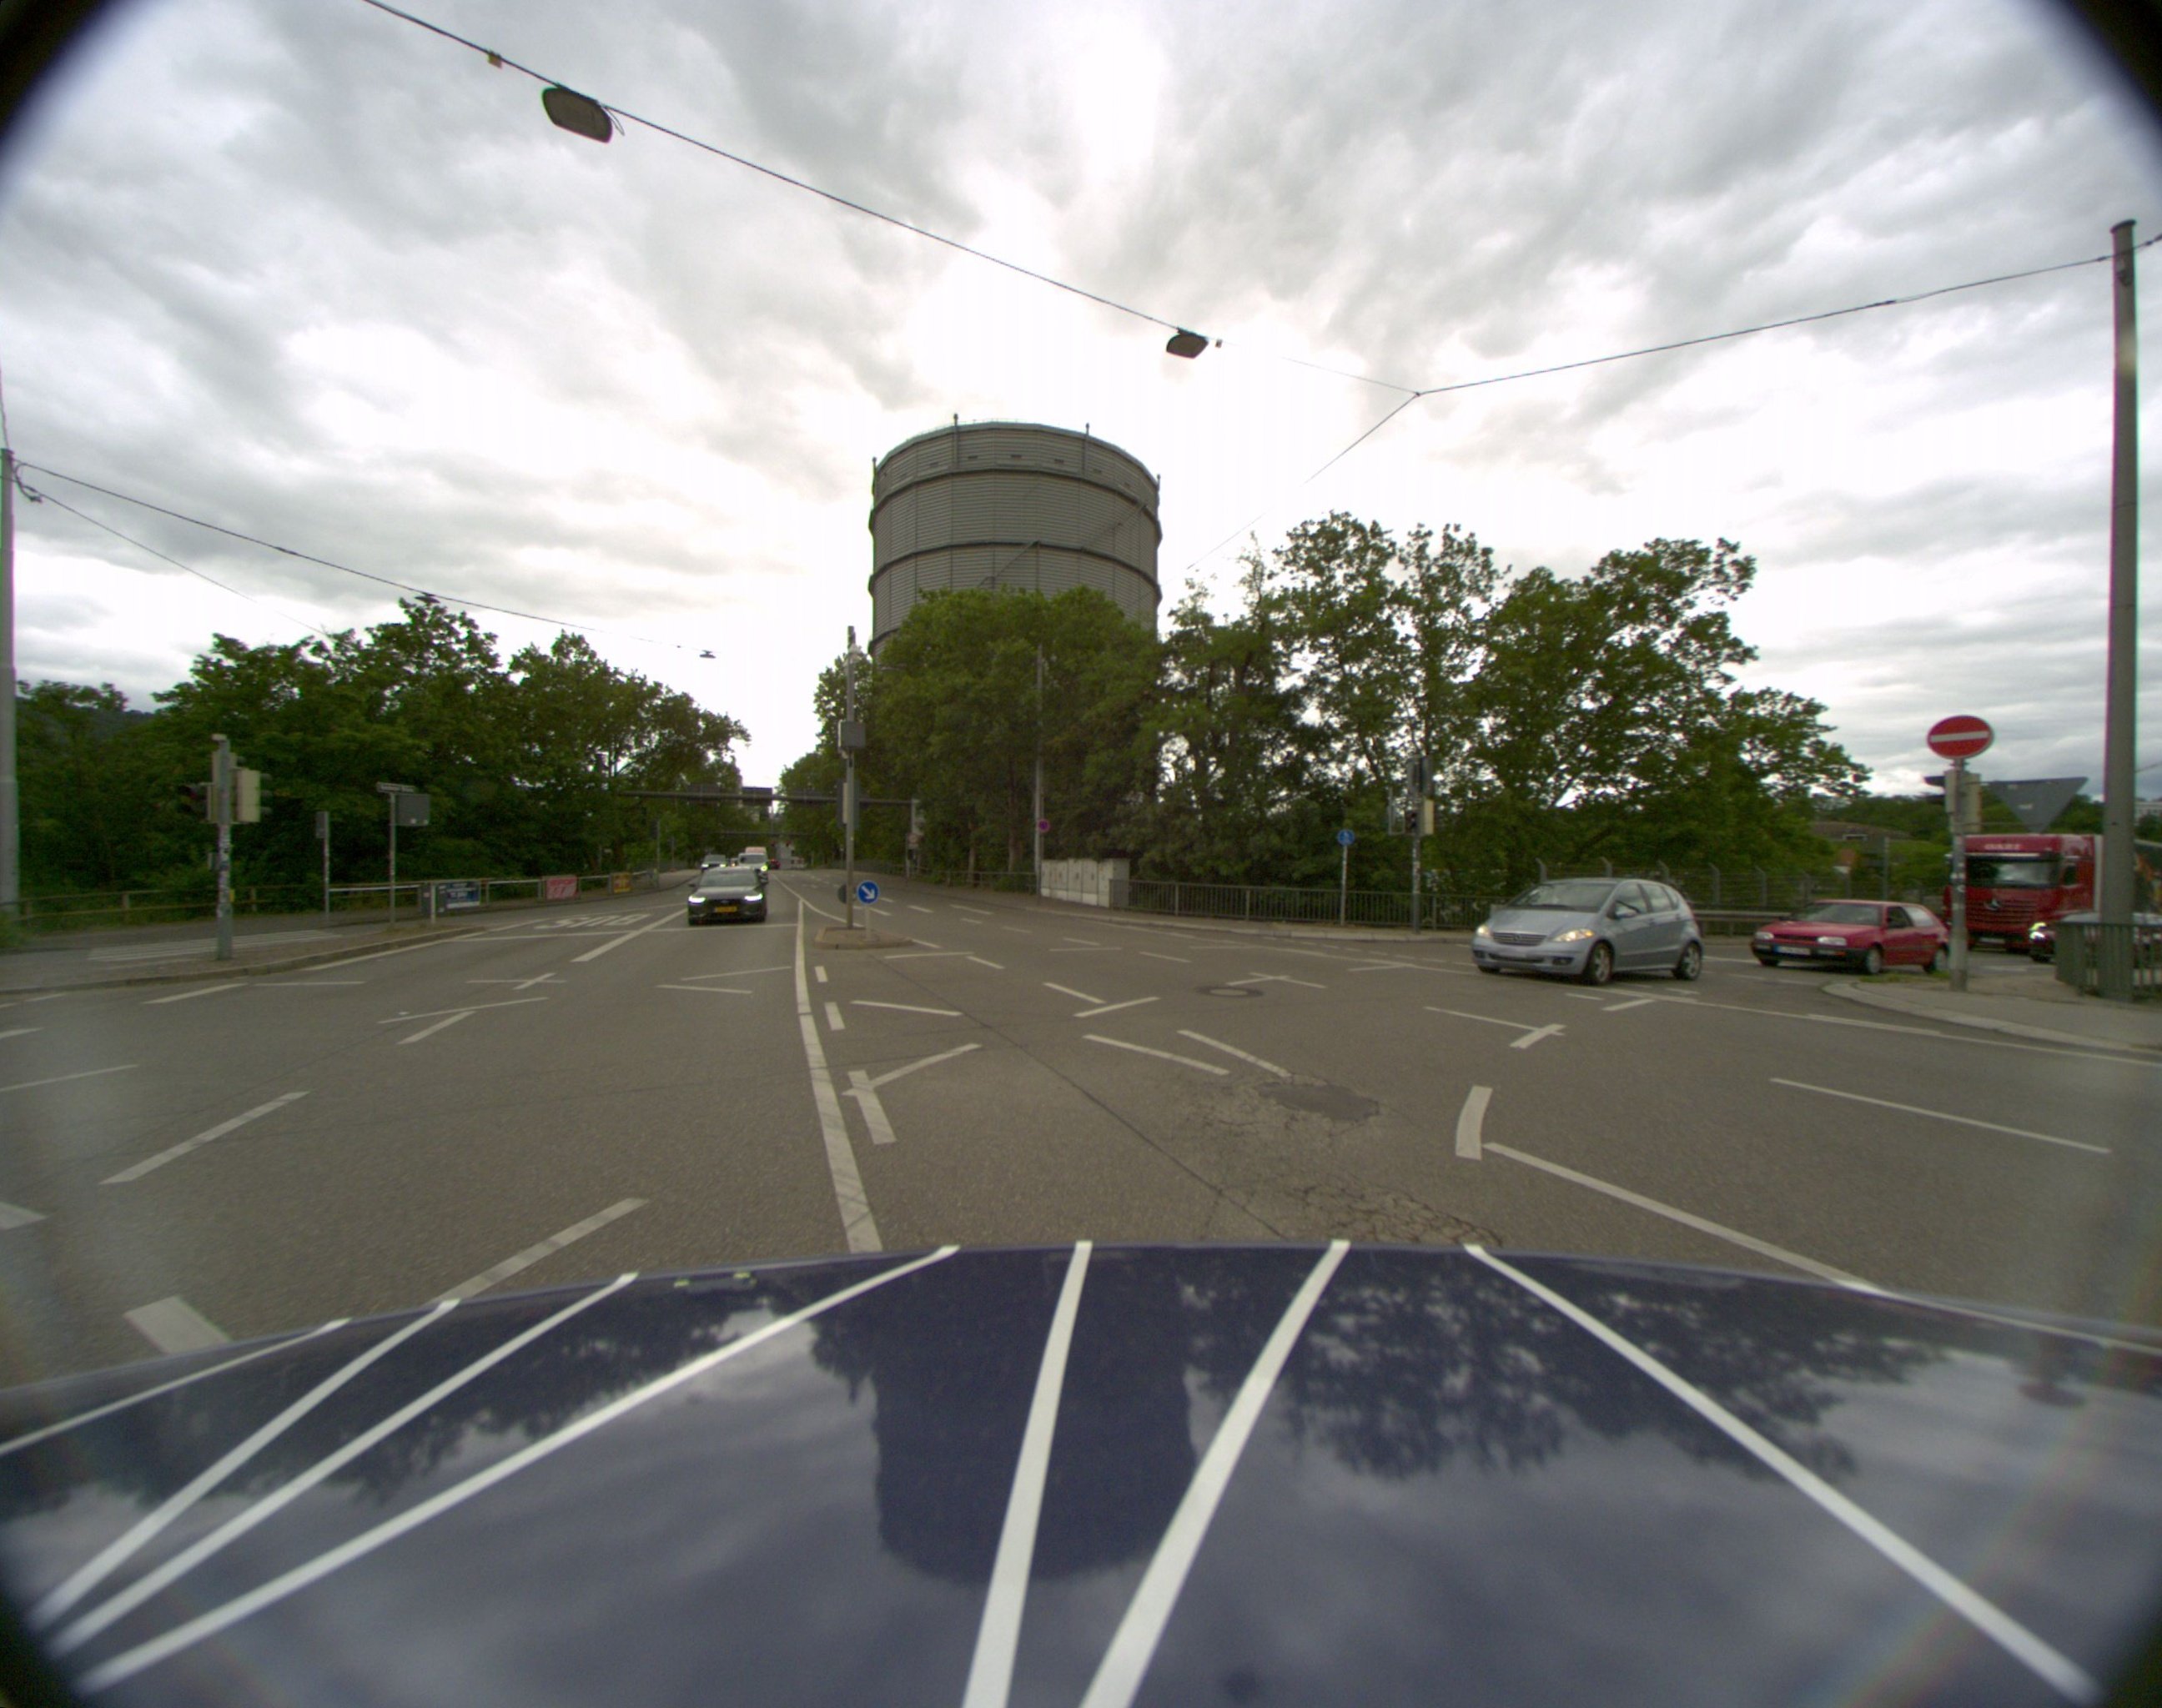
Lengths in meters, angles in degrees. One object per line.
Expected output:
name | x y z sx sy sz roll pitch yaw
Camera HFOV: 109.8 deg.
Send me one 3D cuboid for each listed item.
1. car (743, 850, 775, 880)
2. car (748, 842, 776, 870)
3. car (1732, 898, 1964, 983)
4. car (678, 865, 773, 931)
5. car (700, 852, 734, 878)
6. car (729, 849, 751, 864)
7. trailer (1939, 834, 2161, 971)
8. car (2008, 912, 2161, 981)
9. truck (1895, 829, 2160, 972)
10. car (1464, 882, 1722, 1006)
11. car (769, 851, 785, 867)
car | -22.297 0.789 52.630 1.937 1.986 4.444 1 -1 -24
car | -30.728 0.172 73.103 2.336 2.509 4.938 2 -1 -23
car | 15.256 1.680 15.139 3.959 1.454 1.745 3 -1 -20
car | -9.484 1.089 20.586 1.936 1.412 4.444 -1 1 -20
car | -30.230 0.899 63.252 2.336 1.905 4.937 1 2 -23
car | -47.966 0.326 106.950 2.335 1.905 5.390 1 1 -20
trailer | 37.903 1.867 28.158 13.800 4.295 3.665 3 -1 -22
car | 26.866 2.380 20.159 4.473 1.411 1.694 0 0 -23
truck | 32.110 1.588 25.817 7.245 4.295 3.665 3 -1 -22
car | 7.915 1.299 11.714 3.689 1.594 1.744 3 -1 -28
car | -46.116 0.738 115.188 2.001 2.003 3.992 -4 3 -20
